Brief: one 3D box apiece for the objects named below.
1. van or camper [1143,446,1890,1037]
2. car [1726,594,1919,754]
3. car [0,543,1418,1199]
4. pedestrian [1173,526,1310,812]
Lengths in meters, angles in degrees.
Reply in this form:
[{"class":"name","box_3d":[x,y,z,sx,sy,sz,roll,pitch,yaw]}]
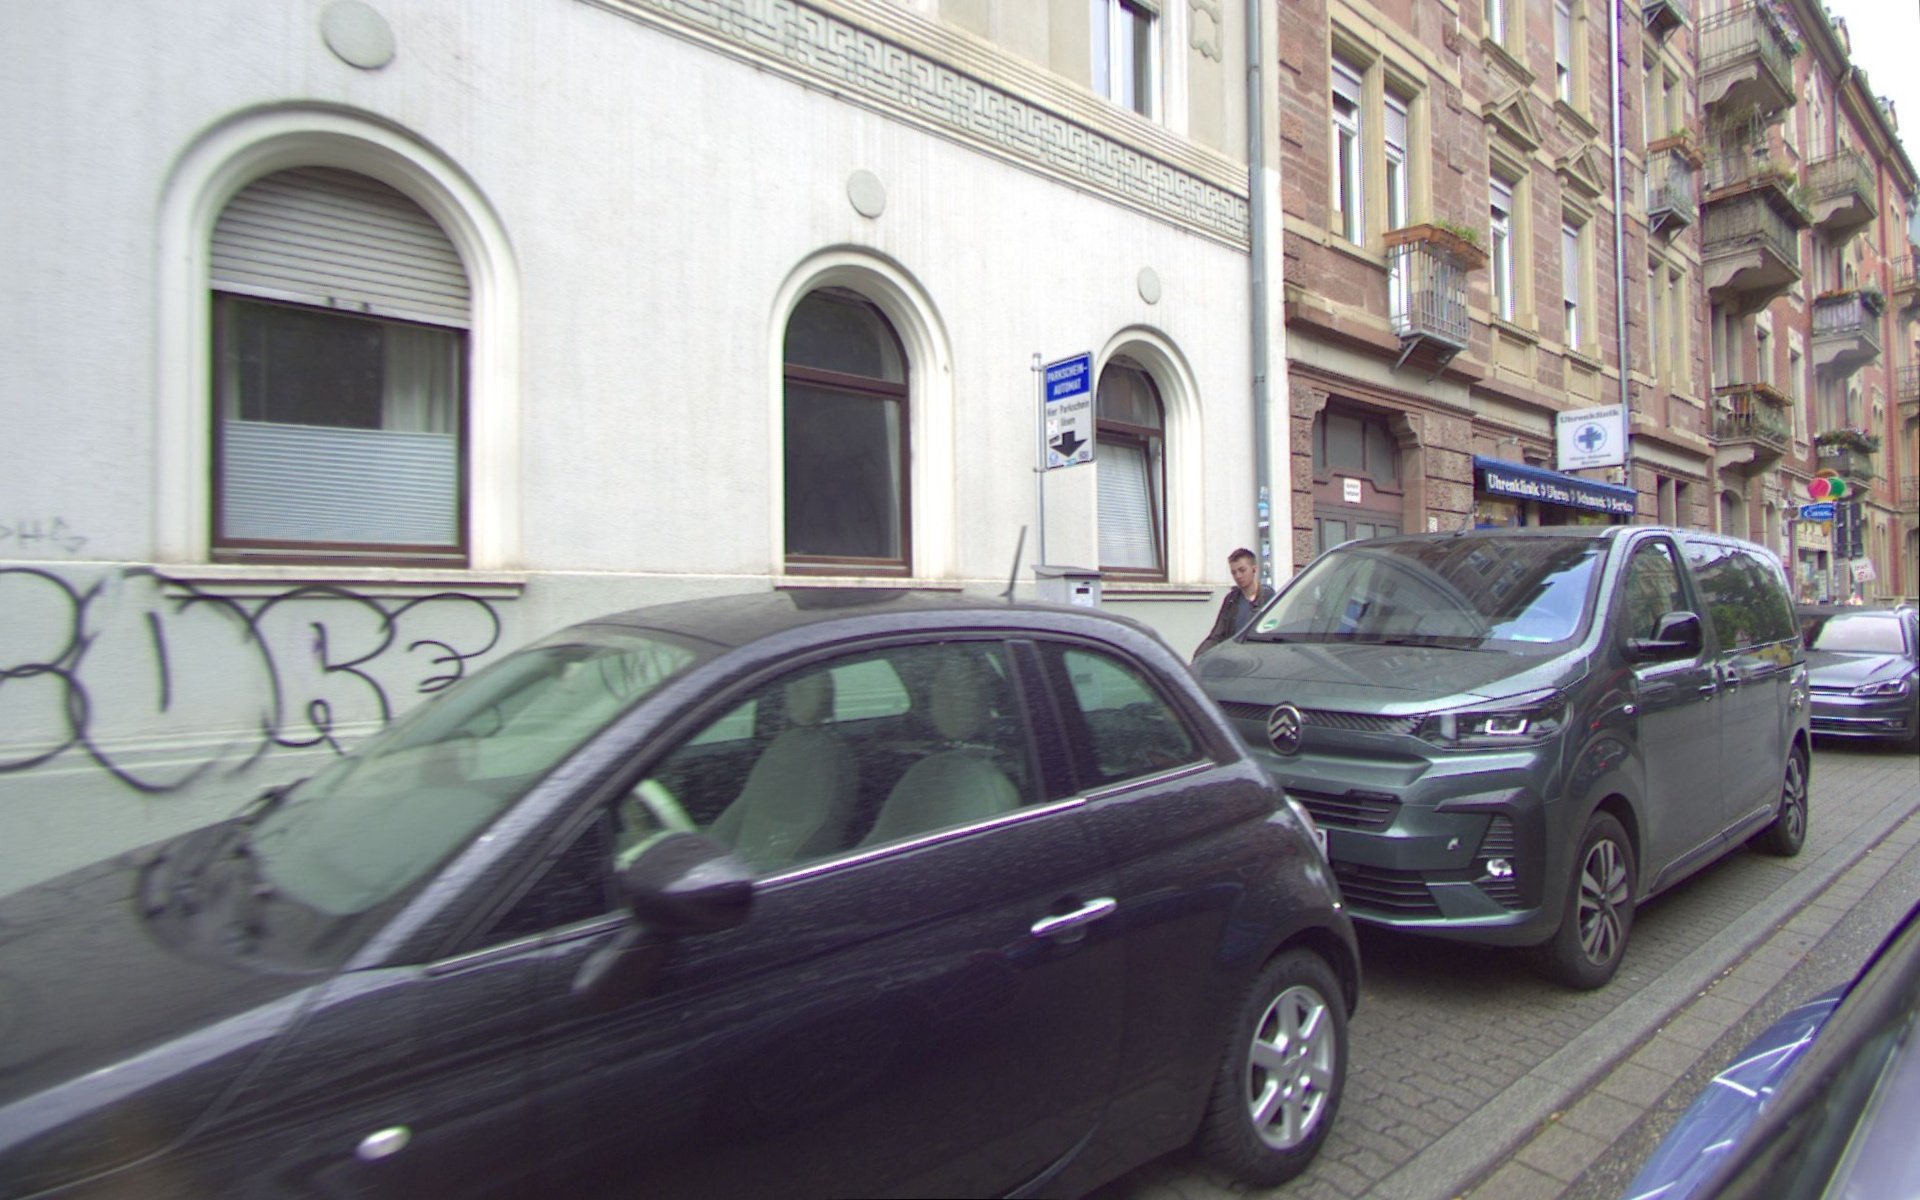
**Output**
[{"class":"van or camper","box_3d":[3.417,0.454,5.665,4.965,1.915,2.025,0,0,-40]},{"class":"car","box_3d":[10.486,0.722,11.662,3.933,1.565,1.844,0,-1,-41]},{"class":"car","box_3d":[-0.639,0.651,2.341,3.639,1.418,1.713,0,0,-40]},{"class":"pedestrian","box_3d":[2.054,0.476,7.439,0.408,1.976,0.826,-2,0,-38]}]
